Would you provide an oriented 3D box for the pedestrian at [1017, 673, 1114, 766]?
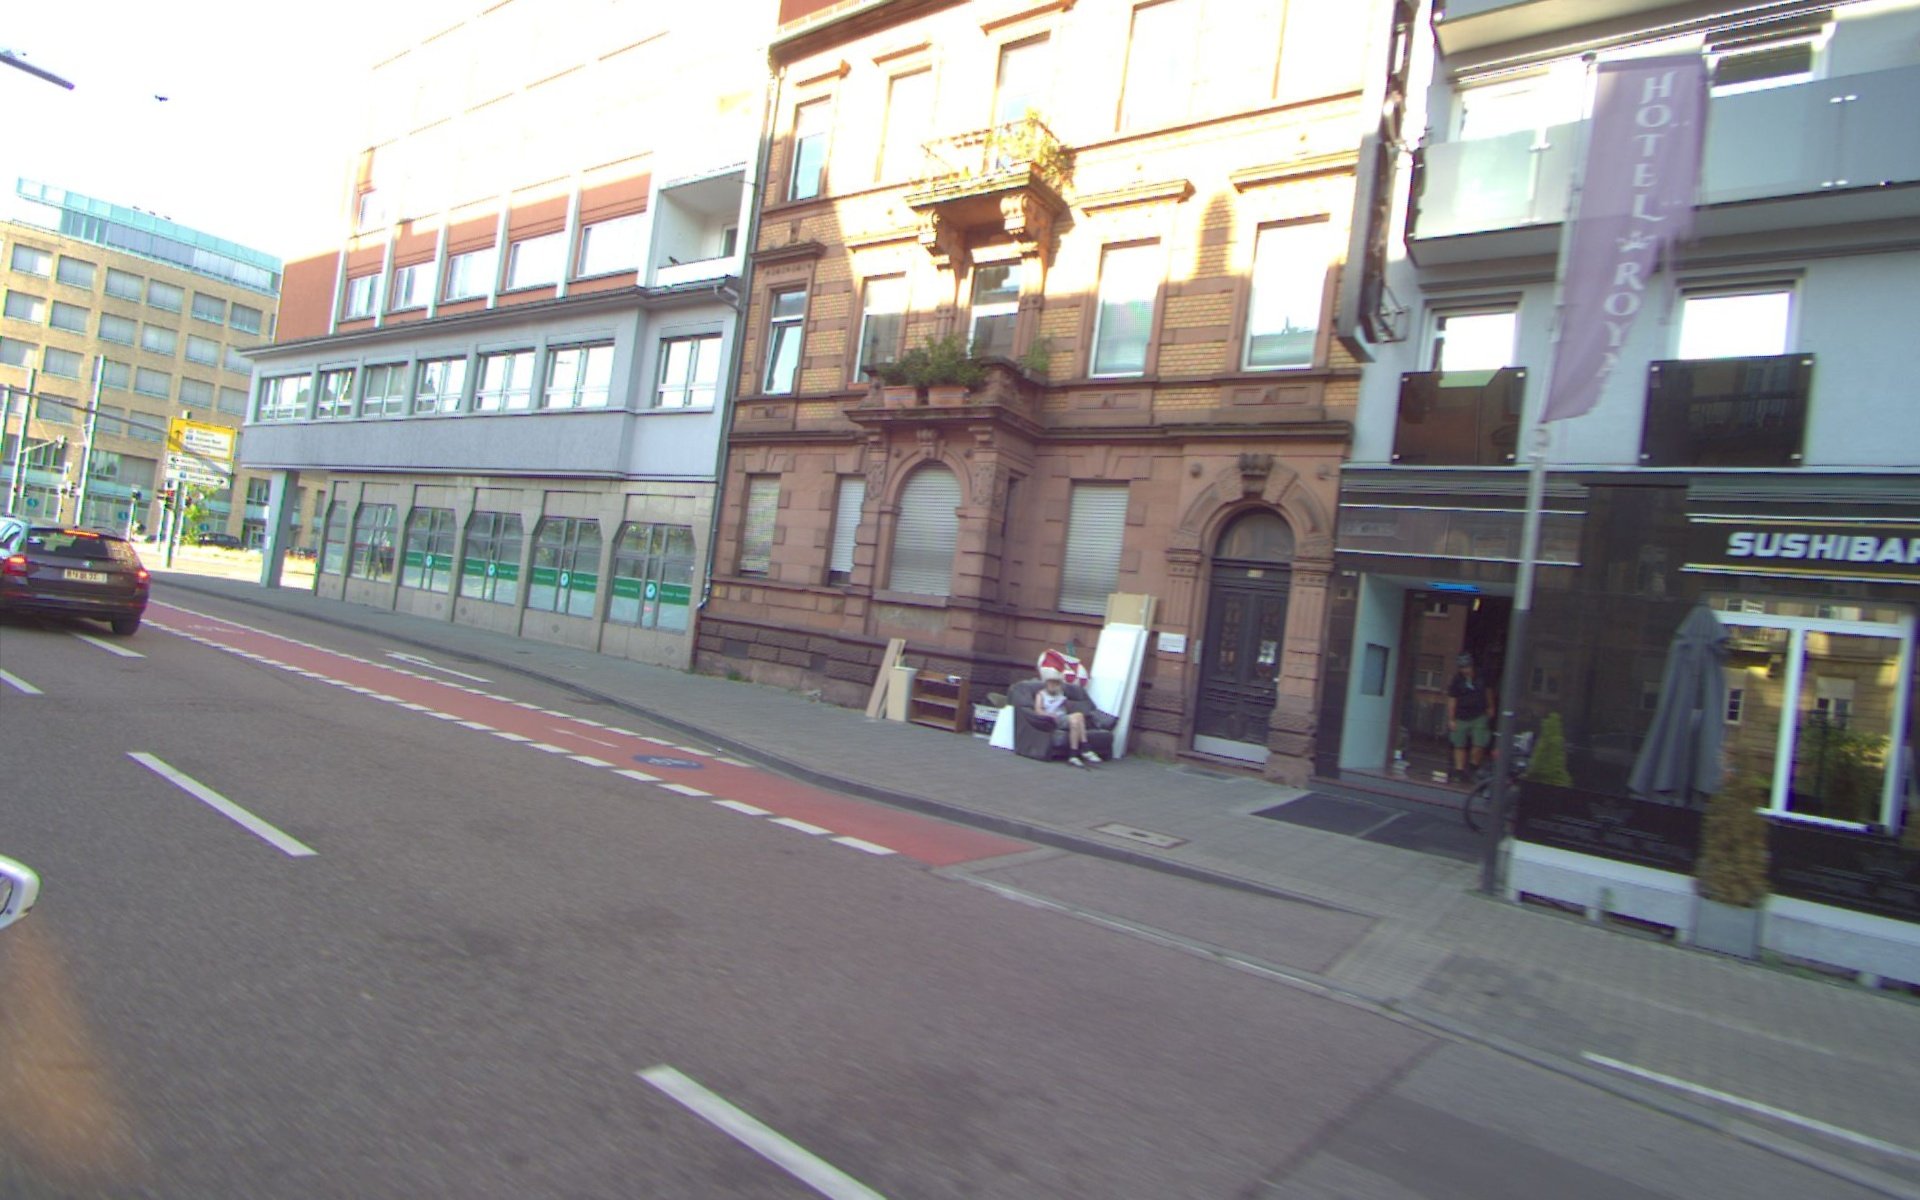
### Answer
[{"bbox_3d":[1.387,1.568,13.273,0.931,1.055,0.691,7,-1,40],"label":"pedestrian"}]

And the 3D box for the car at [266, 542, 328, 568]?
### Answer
[{"bbox_3d":[-52.086,-3.517,79.095,1.695,1.357,3.611,7,-2,37],"label":"car"}]

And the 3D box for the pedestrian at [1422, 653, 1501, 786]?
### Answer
[{"bbox_3d":[6.789,1.607,13.599,0.682,1.662,0.707,7,-1,36],"label":"pedestrian"}]

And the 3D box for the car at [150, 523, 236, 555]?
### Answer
[{"bbox_3d":[-57.861,-4.586,75.961,1.968,1.616,4.654,7,-2,34],"label":"car"}]

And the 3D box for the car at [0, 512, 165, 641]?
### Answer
[{"bbox_3d":[-13.286,-0.438,14.530,4.094,1.474,1.709,7,-2,37],"label":"car"}]

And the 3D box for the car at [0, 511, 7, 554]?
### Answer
[{"bbox_3d":[-21.129,-1.300,20.501,4.174,1.501,1.653,7,-3,37],"label":"car"}]

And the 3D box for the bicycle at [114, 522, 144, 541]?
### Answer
[{"bbox_3d":[-61.756,-5.103,74.752,0.467,1.186,1.521,7,-2,35],"label":"bicycle"}]

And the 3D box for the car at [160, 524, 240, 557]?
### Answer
[{"bbox_3d":[-55.987,-4.367,74.131,1.970,1.633,4.230,7,-2,38],"label":"car"}]

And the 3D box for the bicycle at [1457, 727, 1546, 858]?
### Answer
[{"bbox_3d":[5.763,2.009,10.774,0.479,1.124,1.425,7,1,19],"label":"bicycle"}]
